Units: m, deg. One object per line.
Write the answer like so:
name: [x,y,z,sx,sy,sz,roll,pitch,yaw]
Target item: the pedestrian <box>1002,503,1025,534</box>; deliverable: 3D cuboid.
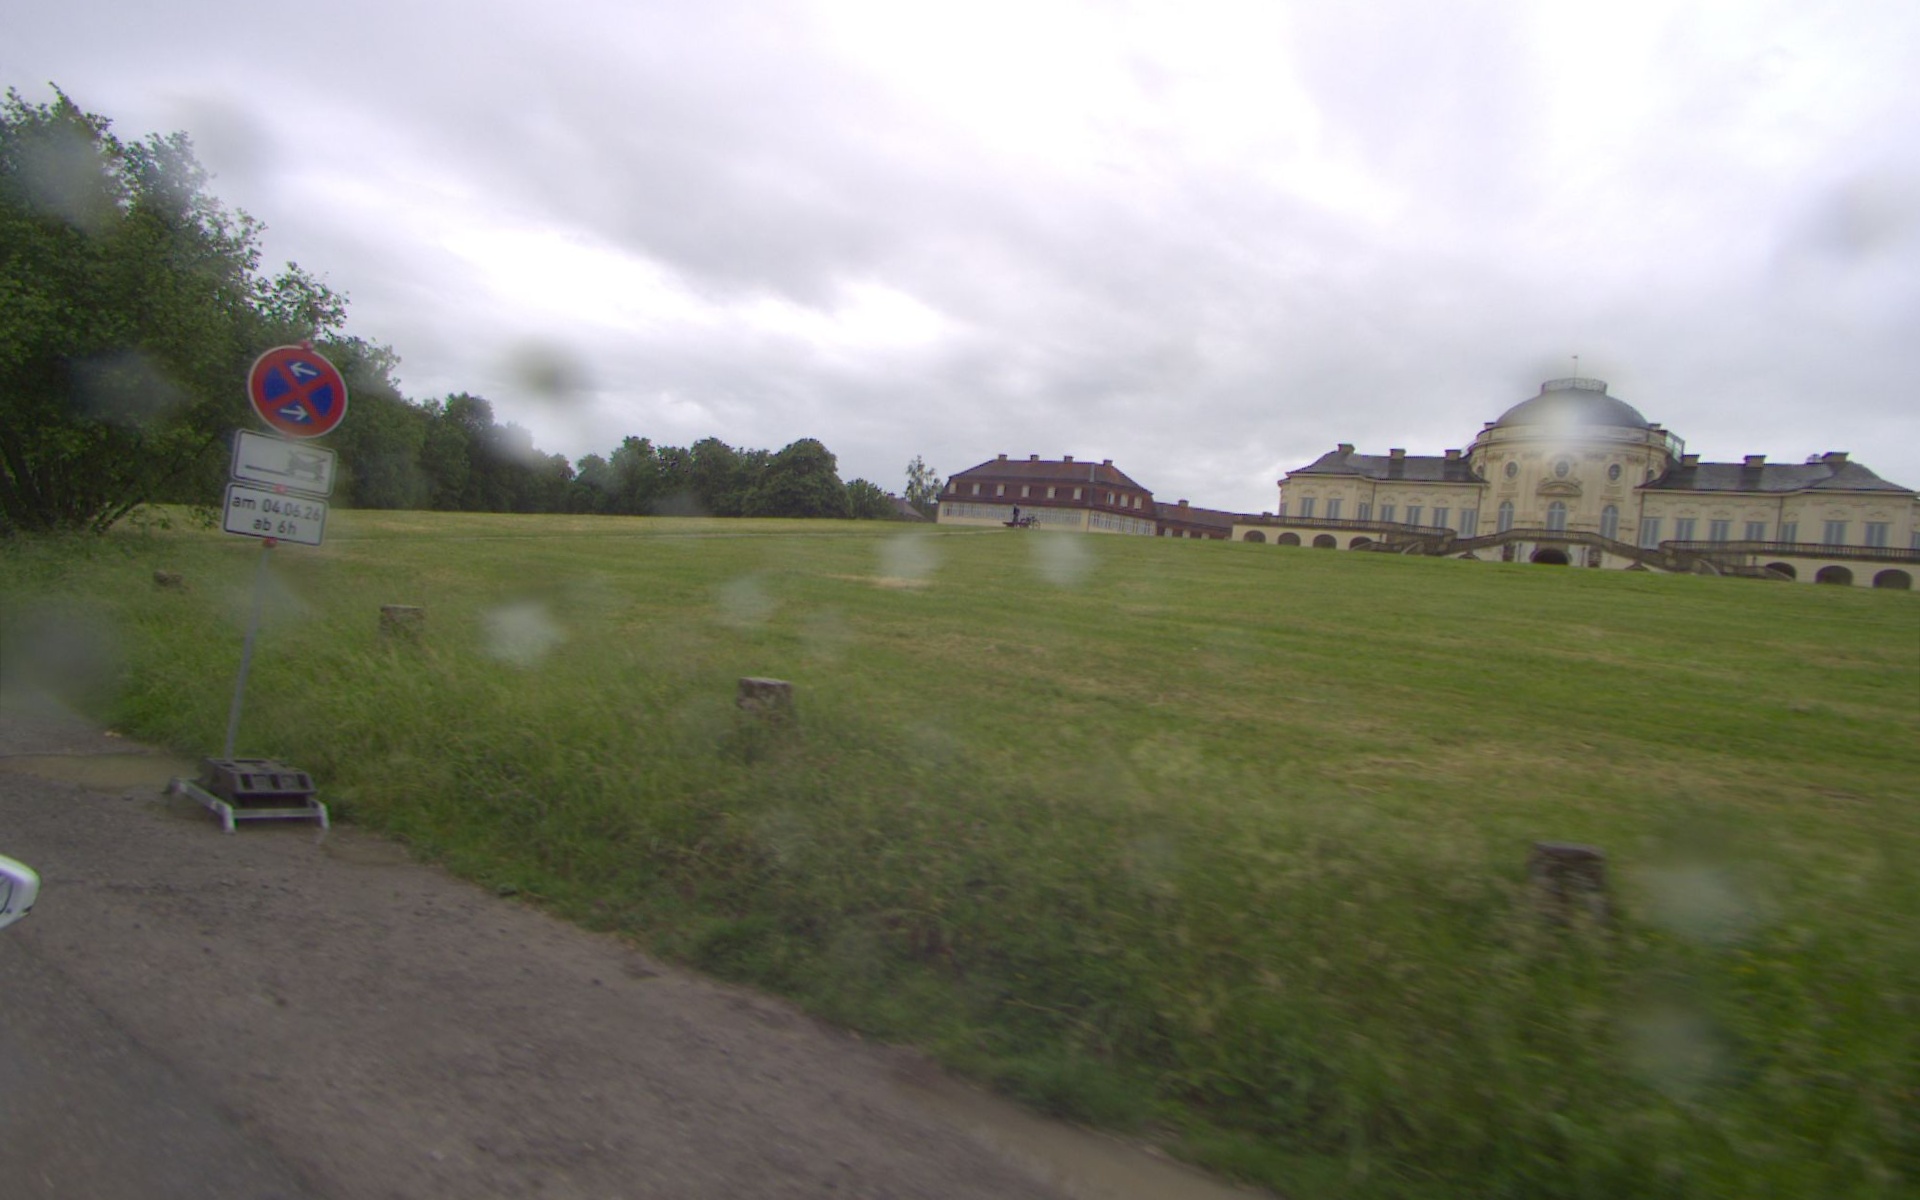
pedestrian: [3.318,-5.055,62.514,0.922,1.758,0.794,7,2,-39]
